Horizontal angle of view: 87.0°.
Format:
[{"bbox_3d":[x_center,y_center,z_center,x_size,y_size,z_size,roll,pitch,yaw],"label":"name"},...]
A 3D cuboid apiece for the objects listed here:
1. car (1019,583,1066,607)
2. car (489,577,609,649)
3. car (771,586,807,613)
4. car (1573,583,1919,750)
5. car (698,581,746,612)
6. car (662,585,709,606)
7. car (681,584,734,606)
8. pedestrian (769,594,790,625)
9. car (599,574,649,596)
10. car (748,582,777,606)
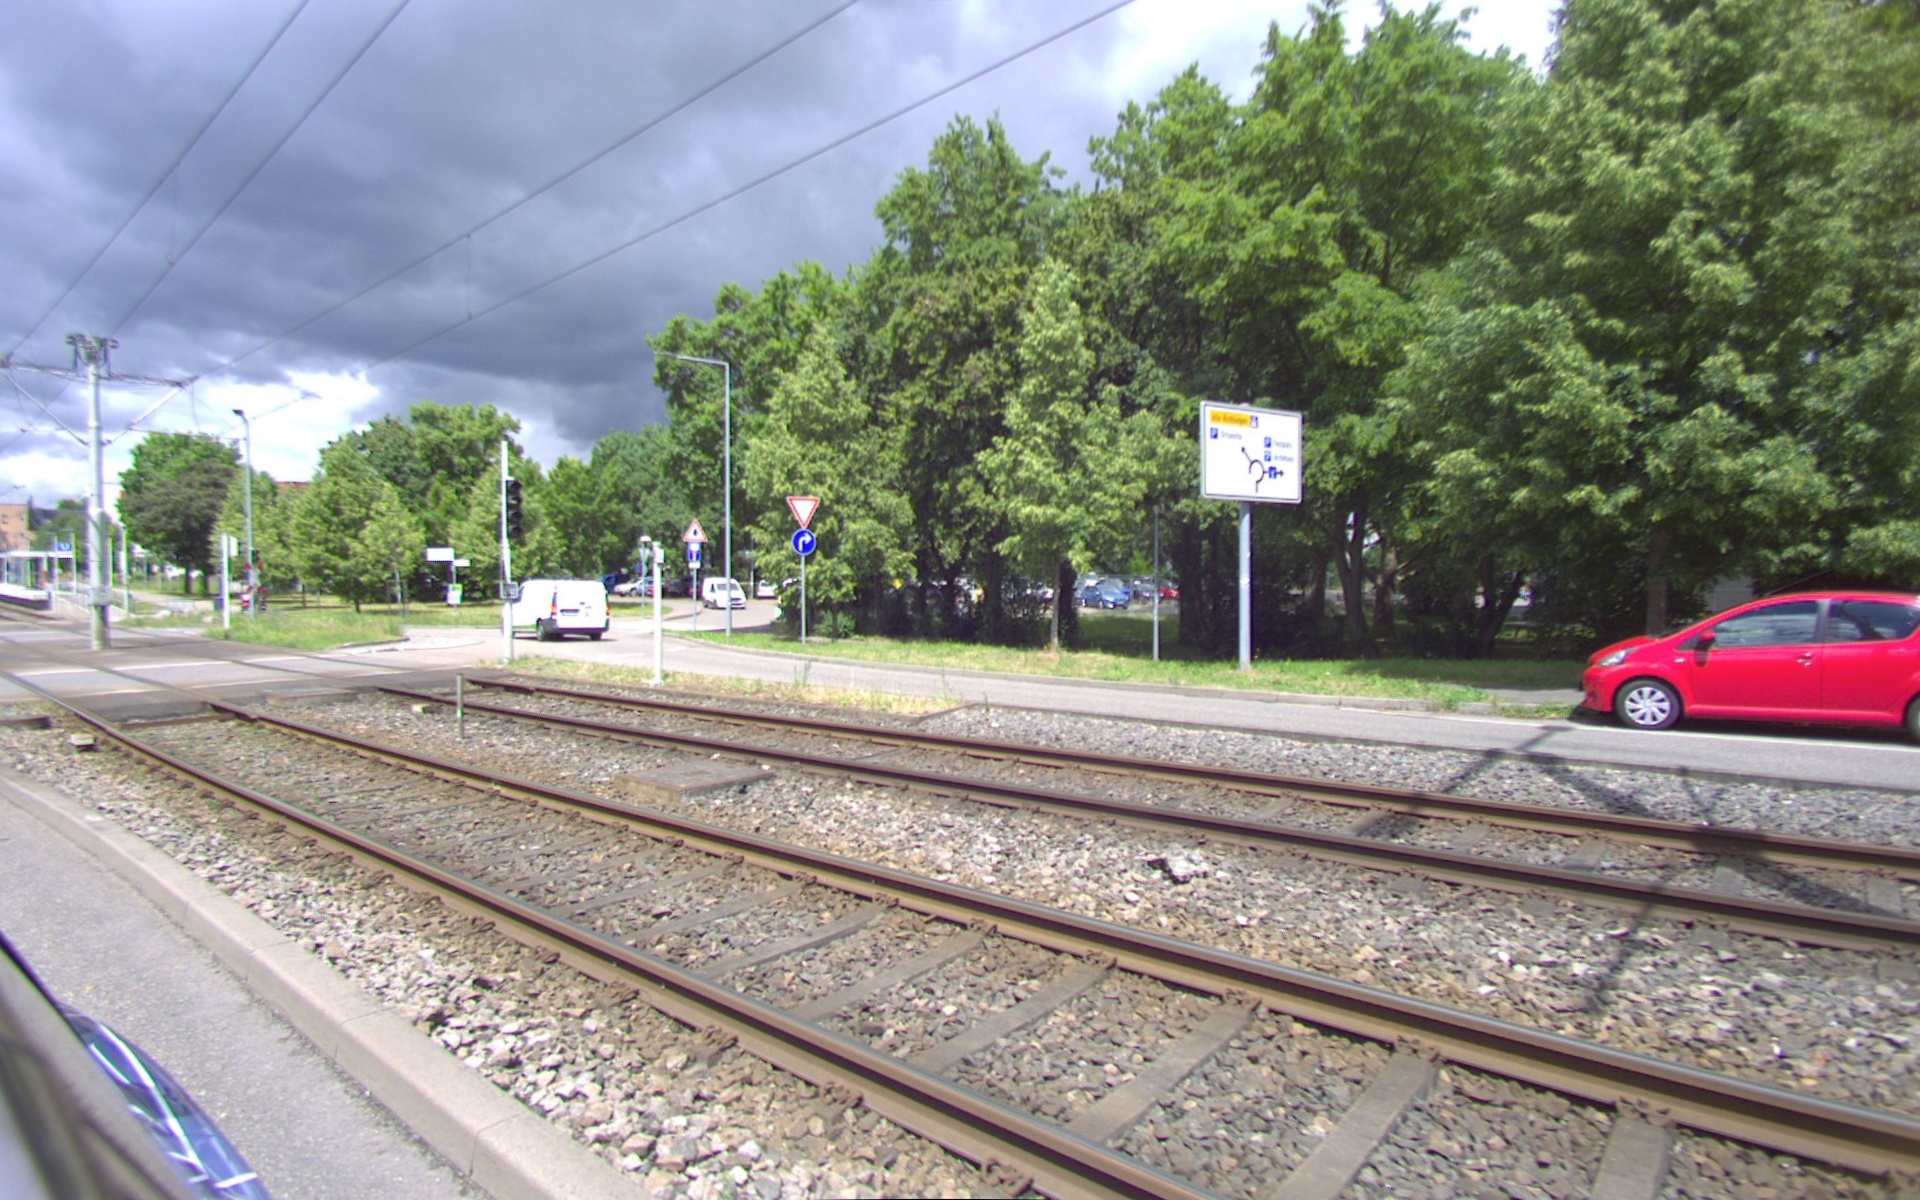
[{"bbox_3d":[5.533,-0.363,68.331,1.728,1.430,4.013,-2,2,-17],"label":"car"},{"bbox_3d":[-13.128,0.308,32.115,1.852,2.033,5.242,-3,3,-42],"label":"car"},{"bbox_3d":[-11.663,-0.069,69.076,1.971,1.601,3.587,0,3,-2],"label":"car"},{"bbox_3d":[8.553,0.592,10.422,3.658,1.462,1.597,1,3,39],"label":"car"},{"bbox_3d":[-14.247,-0.235,60.425,1.713,1.702,4.365,-2,3,-28],"label":"car"},{"bbox_3d":[-21.145,-0.350,78.030,1.620,1.602,3.588,0,0,26],"label":"car"},{"bbox_3d":[-19.071,-0.363,76.576,1.630,1.602,3.567,0,0,44],"label":"car"},{"bbox_3d":[-8.854,0.447,49.530,0.742,1.468,0.895,-1,2,9],"label":"pedestrian"},{"bbox_3d":[-26.789,-1.205,80.755,3.889,1.652,1.578,0,2,30],"label":"car"},{"bbox_3d":[-14.474,-0.465,74.281,1.968,1.696,4.008,-1,1,-9],"label":"car"}]
